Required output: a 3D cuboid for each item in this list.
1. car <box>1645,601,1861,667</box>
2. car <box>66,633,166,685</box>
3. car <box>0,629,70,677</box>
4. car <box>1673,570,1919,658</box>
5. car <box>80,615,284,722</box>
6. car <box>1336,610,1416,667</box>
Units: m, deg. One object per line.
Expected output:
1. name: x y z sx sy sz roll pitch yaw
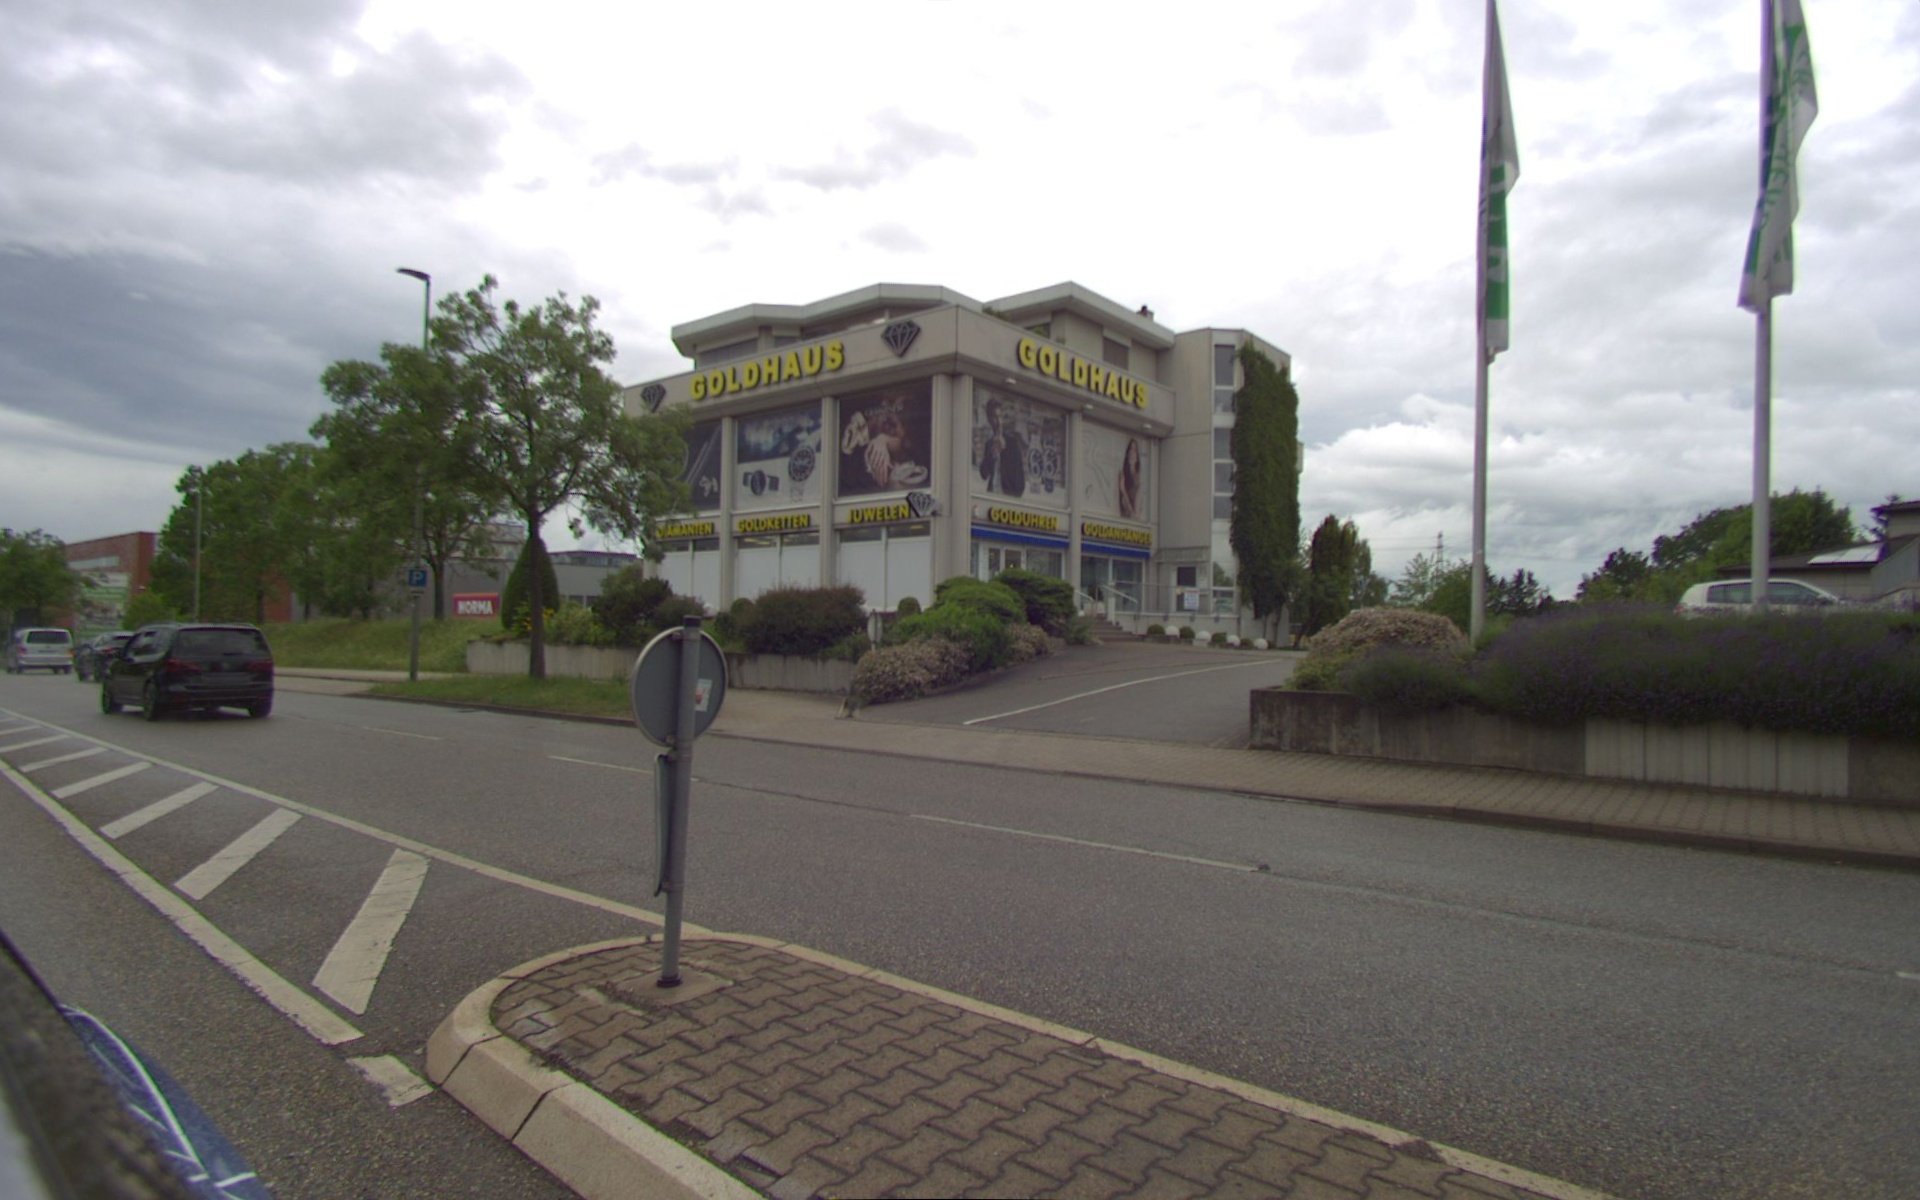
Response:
1. car: 19.417 0.851 24.994 4.047 1.524 1.659 -1 -4 37
2. car: -28.427 1.957 34.036 4.528 1.623 1.733 -2 -4 40
3. car: -41.291 2.343 45.042 4.895 1.998 1.777 -2 -4 41
4. car: 16.048 0.305 19.162 4.001 1.524 1.656 -2 -4 42
5. car: -13.854 1.163 17.963 4.140 1.690 1.740 -1 -3 36
6. car: 11.954 1.105 29.280 1.860 1.524 3.977 -1 -2 19
